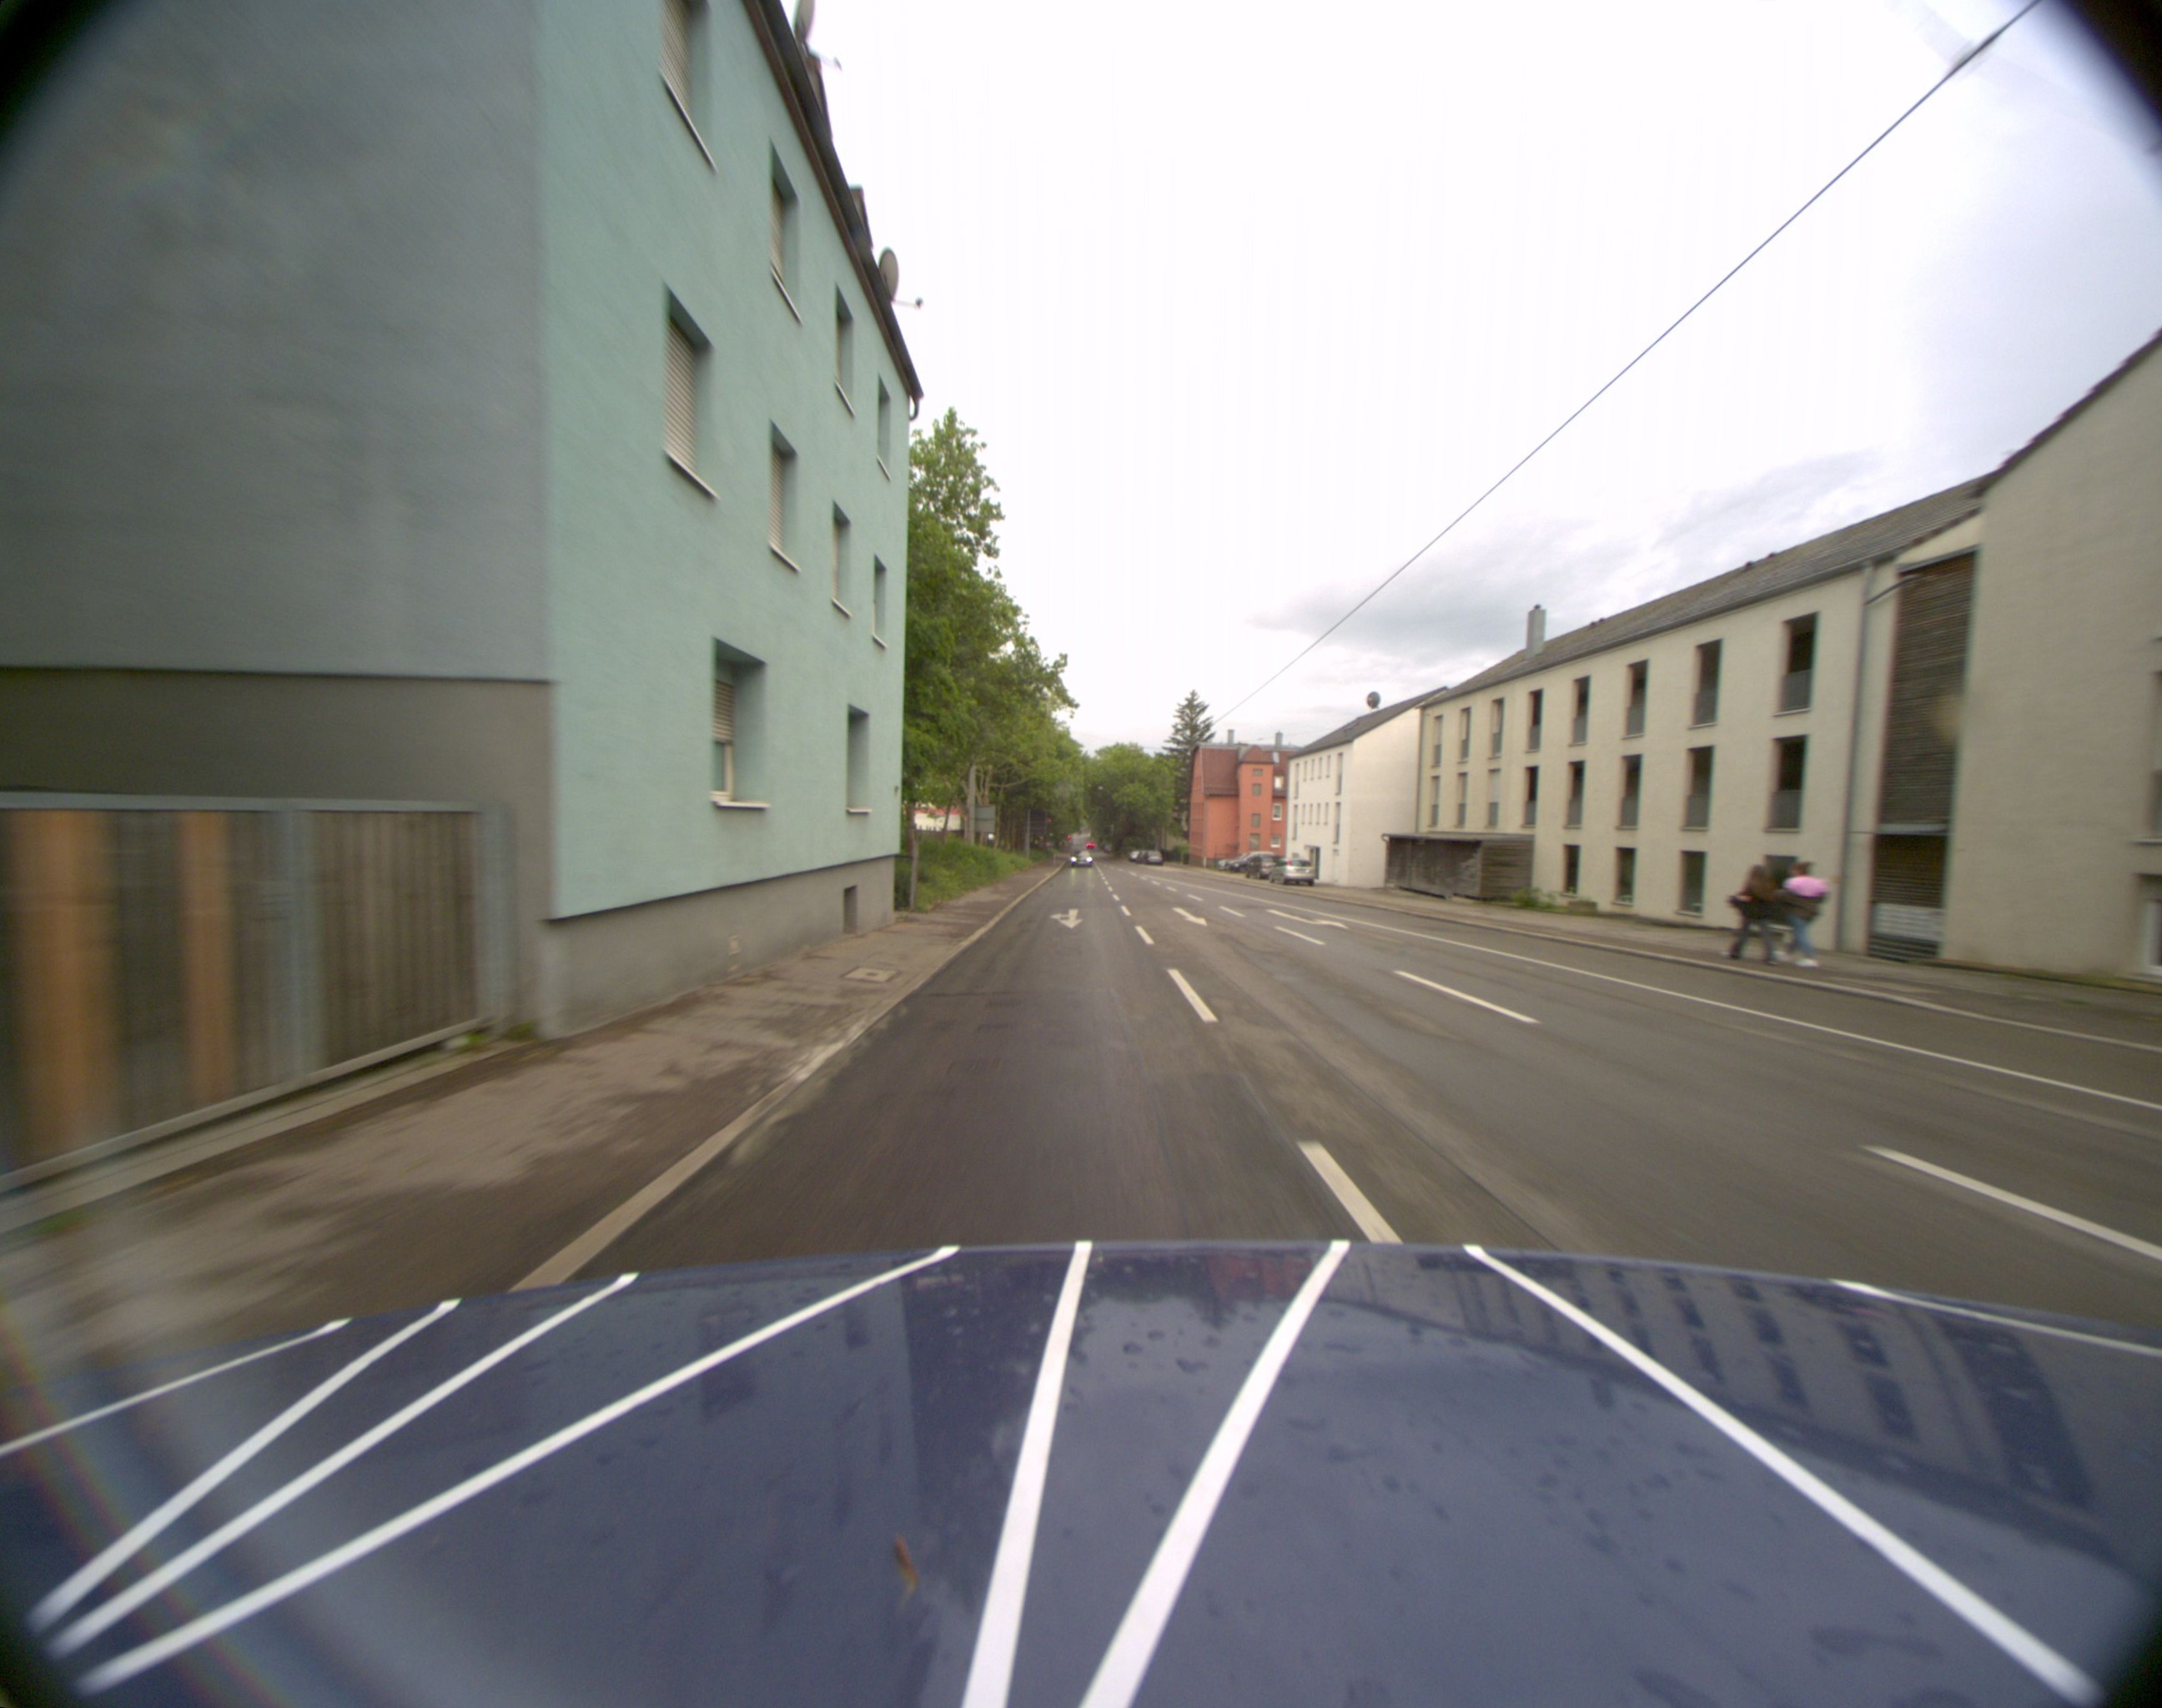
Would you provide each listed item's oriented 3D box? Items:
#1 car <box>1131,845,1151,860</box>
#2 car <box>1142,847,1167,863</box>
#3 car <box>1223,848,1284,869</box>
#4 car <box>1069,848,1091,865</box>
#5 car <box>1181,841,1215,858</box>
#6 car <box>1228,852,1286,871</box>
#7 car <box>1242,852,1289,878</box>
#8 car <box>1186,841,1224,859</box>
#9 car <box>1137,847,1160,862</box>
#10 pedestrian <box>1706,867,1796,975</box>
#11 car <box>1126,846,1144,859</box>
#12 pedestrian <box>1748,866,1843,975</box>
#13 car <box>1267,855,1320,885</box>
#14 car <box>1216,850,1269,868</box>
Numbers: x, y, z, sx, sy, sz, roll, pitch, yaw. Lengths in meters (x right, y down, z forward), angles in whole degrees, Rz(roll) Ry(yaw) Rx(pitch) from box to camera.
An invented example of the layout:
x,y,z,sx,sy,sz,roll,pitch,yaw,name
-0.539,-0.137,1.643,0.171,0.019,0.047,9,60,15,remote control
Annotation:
x,y,z,sx,sy,sz,roll,pitch,yaw,name
6.771,-0.169,85.691,1.816,1.537,4.197,4,1,0,car
7.203,0.098,74.506,1.789,1.402,4.196,3,1,-3,car
14.121,0.384,62.460,4.542,1.599,2.153,-1,1,2,car
-0.075,0.174,67.309,1.842,1.403,3.999,1,1,0,car
14.072,-0.550,91.793,3.994,2.002,2.001,0,2,7,car
13.801,0.577,59.680,4.136,1.456,1.895,0,1,1,car
11.950,0.694,49.463,1.750,1.543,4.081,-1,1,-4,car
14.337,-0.458,87.979,3.997,2.002,1.999,0,2,-1,car
7.038,0.002,79.320,1.817,1.443,4.197,1,1,-2,car
11.010,1.071,12.524,0.642,1.696,0.911,1,1,1,pedestrian
6.433,-0.192,90.865,1.816,1.425,4.197,1,1,0,car
11.673,1.061,12.445,0.642,1.696,0.911,1,1,1,pedestrian
11.816,0.836,42.455,1.749,1.499,4.177,1,1,0,car
13.744,0.431,64.964,4.172,1.425,2.000,-1,1,2,car
